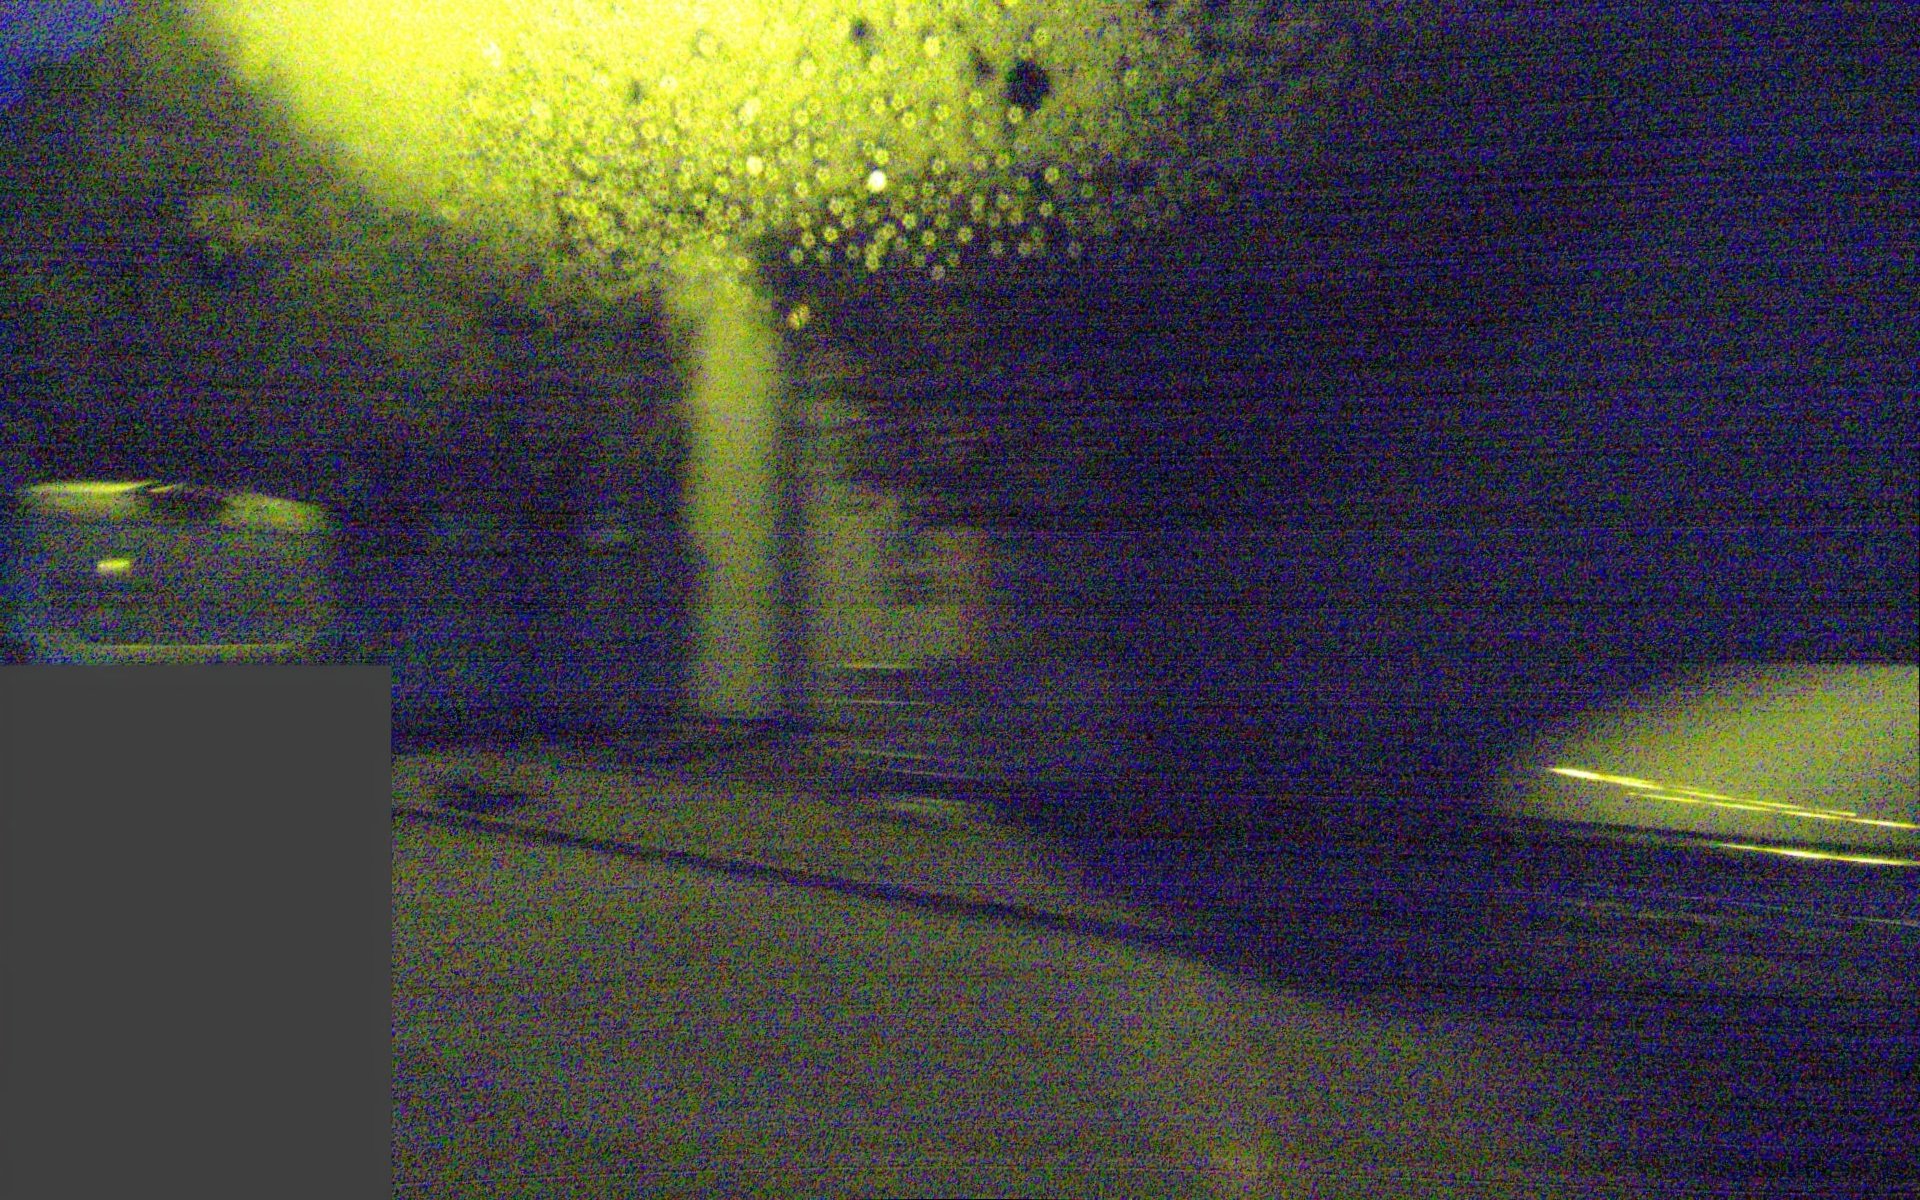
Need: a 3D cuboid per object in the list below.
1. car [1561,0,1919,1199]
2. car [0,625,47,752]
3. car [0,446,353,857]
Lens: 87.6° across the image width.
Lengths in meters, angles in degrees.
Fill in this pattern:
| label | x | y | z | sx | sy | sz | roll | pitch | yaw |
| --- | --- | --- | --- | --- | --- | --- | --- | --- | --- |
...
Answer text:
| label | x | y | z | sx | sy | sz | roll | pitch | yaw |
| --- | --- | --- | --- | --- | --- | --- | --- | --- | --- |
| car | 4.231 | 0.296 | 1.295 | 5.819 | 2.603 | 2.128 | 0 | -3 | 29 |
| car | -13.019 | 1.025 | 12.229 | 4.487 | 1.430 | 1.765 | -1 | -1 | 34 |
| car | -7.753 | 0.415 | 8.728 | 5.830 | 2.557 | 1.989 | -1 | -3 | 35 |
